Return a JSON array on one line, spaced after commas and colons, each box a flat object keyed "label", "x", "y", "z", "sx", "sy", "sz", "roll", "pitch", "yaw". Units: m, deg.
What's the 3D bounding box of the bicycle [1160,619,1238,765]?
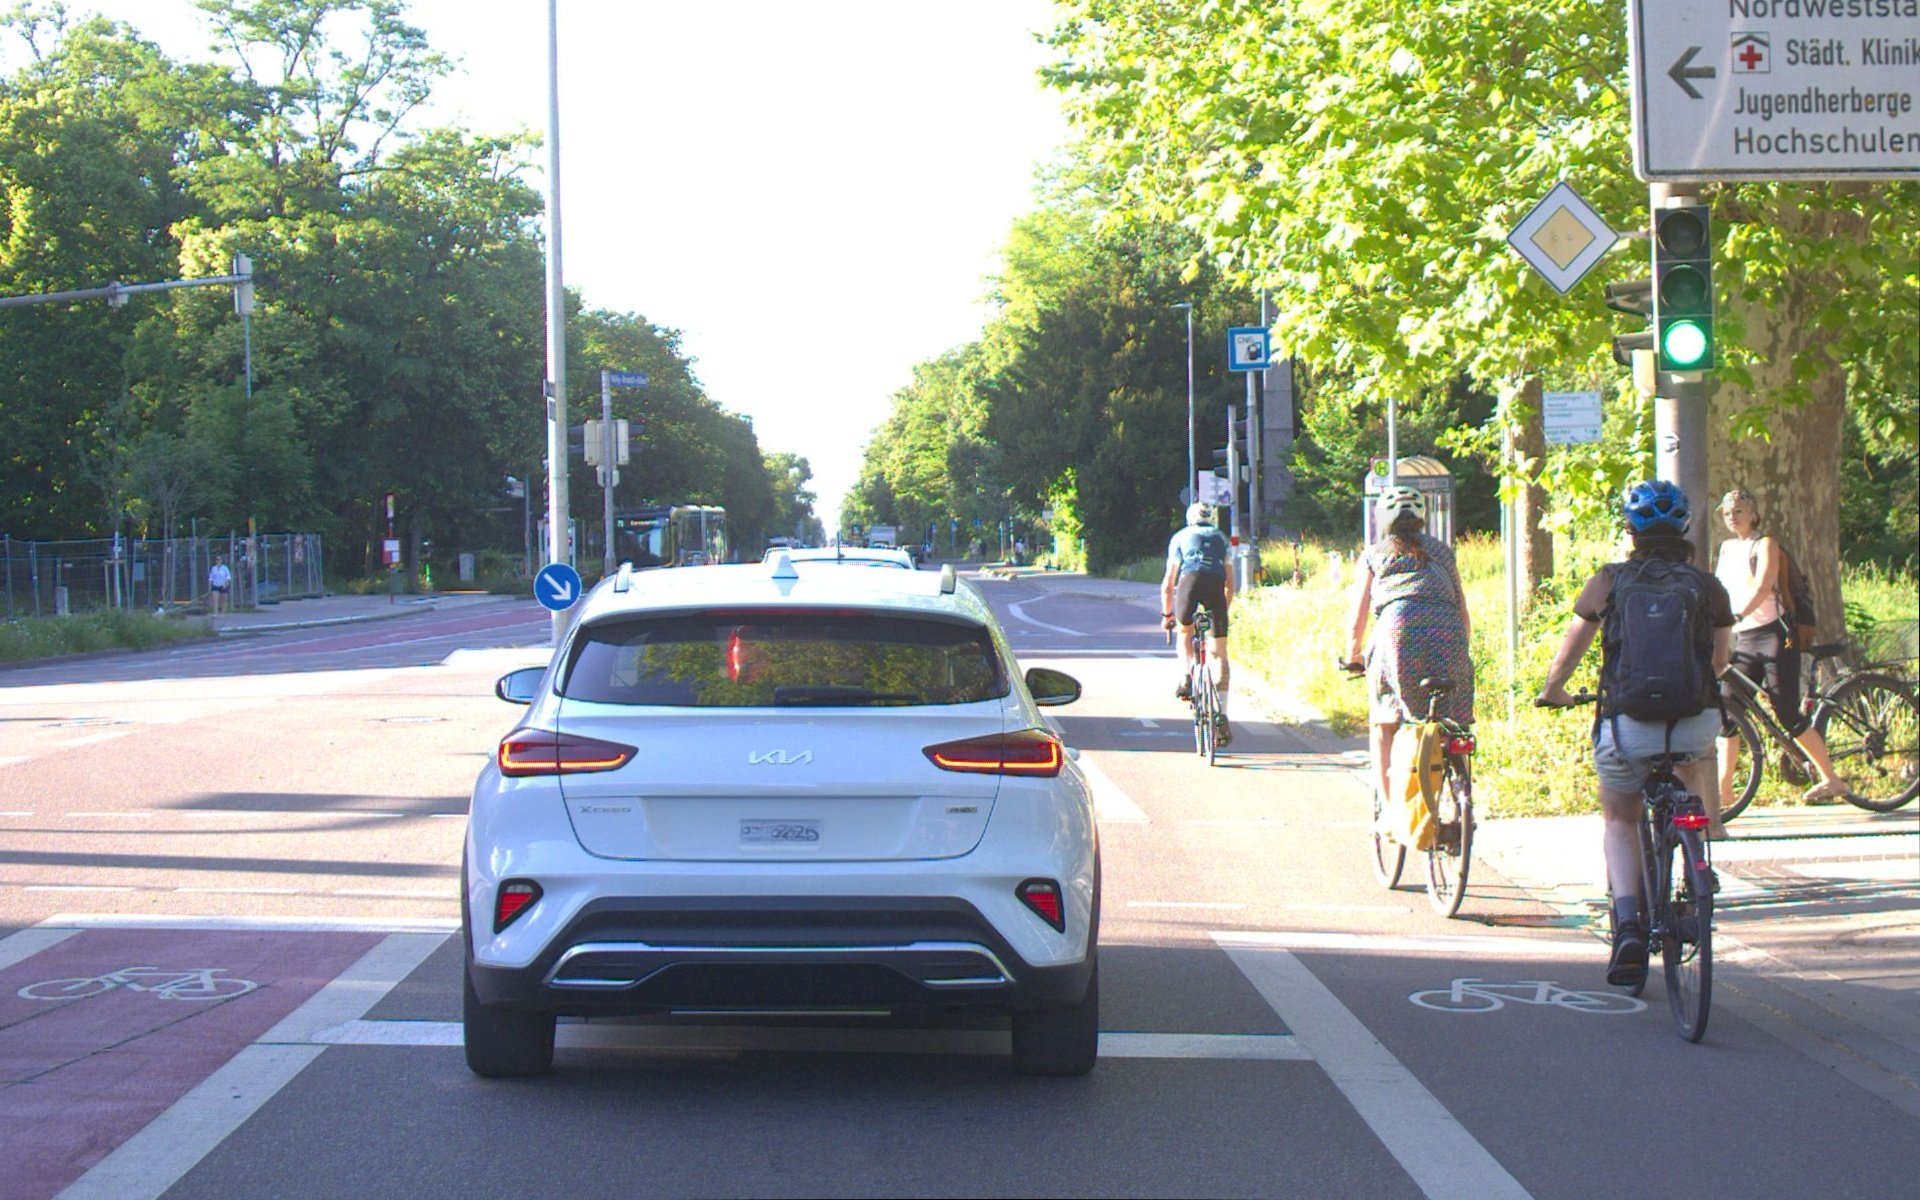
[{"label": "bicycle", "x": 1.634, "y": 0.618, "z": 23.641, "sx": 0.401, "sy": 0.953, "sz": 1.551, "roll": 0, "pitch": 0, "yaw": -1}]

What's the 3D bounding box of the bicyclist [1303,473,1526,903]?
[{"label": "bicyclist", "x": 1.961, "y": 0.358, "z": 14.971, "sx": 0.753, "sy": 1.789, "sz": 1.165, "roll": 1, "pitch": 1, "yaw": -2}]

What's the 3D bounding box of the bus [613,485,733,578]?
[{"label": "bus", "x": -12.049, "y": -2.880, "z": 145.680, "sx": 3.741, "sy": 3.660, "sz": 13.240, "roll": -1, "pitch": 1, "yaw": 1}]

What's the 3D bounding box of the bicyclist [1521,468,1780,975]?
[{"label": "bicyclist", "x": 2.235, "y": 0.377, "z": 11.193, "sx": 0.665, "sy": 1.596, "sz": 0.721, "roll": 0, "pitch": 1, "yaw": -2}]

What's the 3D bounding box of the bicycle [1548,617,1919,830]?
[{"label": "bicycle", "x": 4.200, "y": 0.624, "z": 17.870, "sx": 2.092, "sy": 0.972, "sz": 0.751, "roll": -2, "pitch": 1, "yaw": -13}]

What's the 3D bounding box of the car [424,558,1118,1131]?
[{"label": "car", "x": -0.558, "y": 0.622, "z": 11.049, "sx": 1.821, "sy": 1.475, "sz": 3.937, "roll": 0, "pitch": 1, "yaw": -2}]

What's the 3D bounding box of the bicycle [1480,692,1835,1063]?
[{"label": "bicycle", "x": 2.231, "y": 0.853, "z": 11.257, "sx": 0.668, "sy": 1.006, "sz": 2.081, "roll": 0, "pitch": 1, "yaw": -2}]

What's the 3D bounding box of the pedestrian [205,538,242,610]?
[{"label": "pedestrian", "x": -18.438, "y": -0.656, "z": 86.079, "sx": 0.785, "sy": 1.779, "sz": 0.751, "roll": 0, "pitch": 0, "yaw": 0}]

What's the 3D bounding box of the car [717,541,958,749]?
[{"label": "car", "x": -0.961, "y": 0.298, "z": 26.978, "sx": 1.728, "sy": 1.478, "sz": 3.517, "roll": -2, "pitch": 1, "yaw": -2}]

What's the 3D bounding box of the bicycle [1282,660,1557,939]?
[{"label": "bicycle", "x": 1.955, "y": 0.818, "z": 14.999, "sx": 0.758, "sy": 1.009, "sz": 2.570, "roll": 1, "pitch": 1, "yaw": -2}]

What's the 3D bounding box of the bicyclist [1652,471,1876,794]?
[{"label": "bicyclist", "x": 4.170, "y": 0.158, "z": 17.857, "sx": 0.846, "sy": 1.608, "sz": 0.736, "roll": -2, "pitch": 1, "yaw": -13}]

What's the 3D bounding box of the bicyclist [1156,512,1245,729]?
[{"label": "bicyclist", "x": 1.654, "y": 0.139, "z": 23.738, "sx": 0.554, "sy": 1.473, "sz": 0.717, "roll": 0, "pitch": 0, "yaw": -1}]
